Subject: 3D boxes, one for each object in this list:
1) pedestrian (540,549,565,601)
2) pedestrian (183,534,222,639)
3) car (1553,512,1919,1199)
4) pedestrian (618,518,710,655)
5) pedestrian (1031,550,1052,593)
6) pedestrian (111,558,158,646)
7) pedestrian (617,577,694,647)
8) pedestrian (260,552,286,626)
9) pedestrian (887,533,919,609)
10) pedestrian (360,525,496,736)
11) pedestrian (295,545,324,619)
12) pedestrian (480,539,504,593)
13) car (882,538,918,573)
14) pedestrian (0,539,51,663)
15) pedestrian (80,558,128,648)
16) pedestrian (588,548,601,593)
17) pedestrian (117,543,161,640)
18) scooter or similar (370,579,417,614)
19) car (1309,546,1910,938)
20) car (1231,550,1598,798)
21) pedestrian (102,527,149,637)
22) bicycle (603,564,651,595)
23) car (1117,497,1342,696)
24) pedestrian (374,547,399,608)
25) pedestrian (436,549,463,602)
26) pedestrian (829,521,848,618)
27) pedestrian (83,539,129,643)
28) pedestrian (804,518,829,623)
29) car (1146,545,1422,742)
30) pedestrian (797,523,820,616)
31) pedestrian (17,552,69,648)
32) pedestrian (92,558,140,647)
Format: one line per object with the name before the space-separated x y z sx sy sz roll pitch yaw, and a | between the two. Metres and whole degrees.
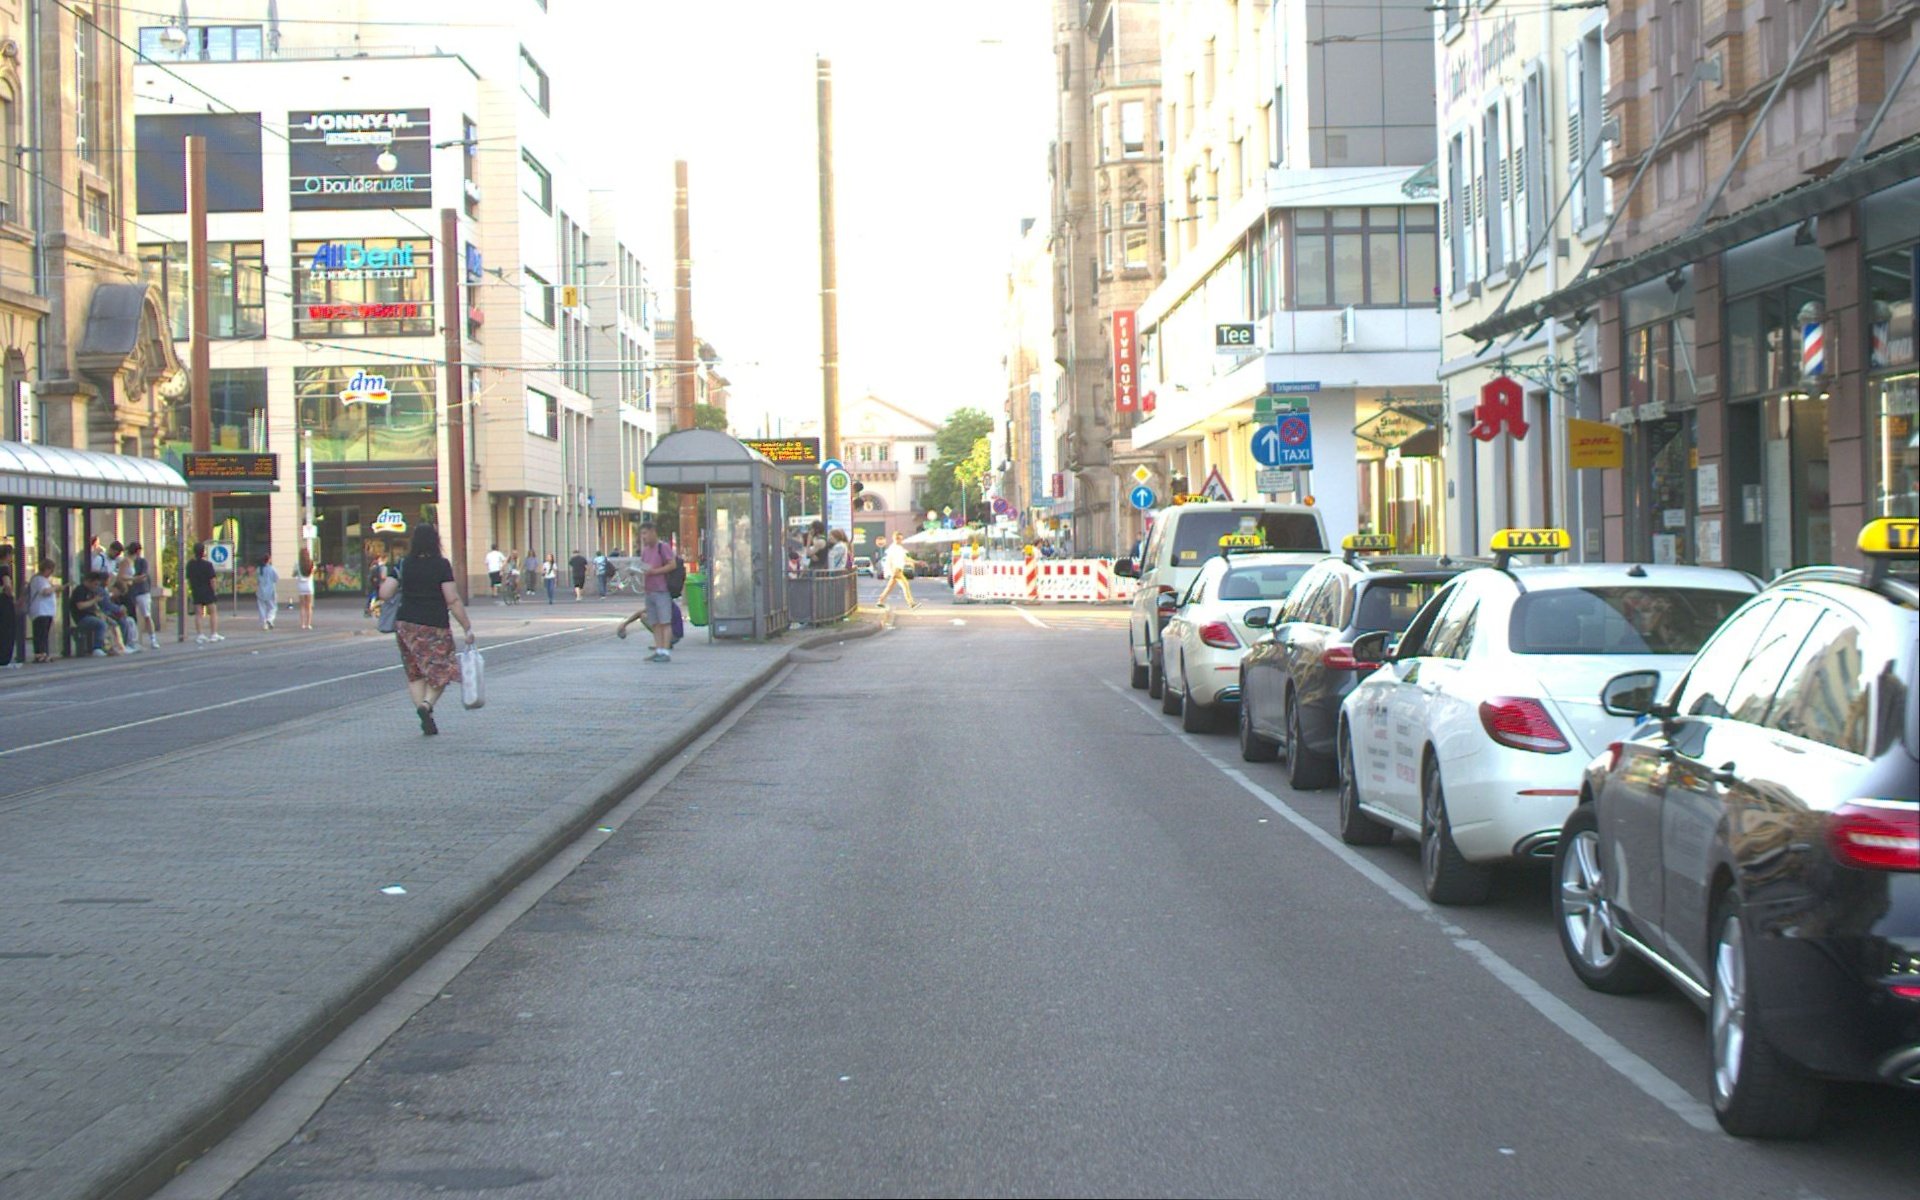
pedestrian | -13.156 -0.812 110.951 0.649 1.668 0.530 -1 1 8
pedestrian | -12.917 -0.232 58.620 0.559 1.770 0.469 -1 1 -5
car | 2.871 0.586 9.858 1.733 1.585 4.441 0 0 2
pedestrian | -3.566 -0.172 41.443 0.687 1.632 0.859 0 1 40
pedestrian | 3.023 -1.051 128.205 0.711 1.605 0.822 0 0 -3
pedestrian | -12.595 0.029 52.454 0.518 1.323 0.638 -1 0 3
pedestrian | -4.121 0.157 46.480 0.799 0.936 0.692 0 1 22
pedestrian | -14.145 -0.231 70.788 0.518 1.520 0.501 -1 1 -11
pedestrian | -1.351 -0.693 81.935 0.699 1.809 0.852 0 1 2
pedestrian | -3.864 0.211 25.041 0.846 1.496 0.901 -1 1 -1
pedestrian | -13.415 -0.369 70.883 0.525 1.520 0.503 -1 1 -14
pedestrian | -16.123 -1.173 118.432 0.573 1.848 0.816 0 0 11
car | -3.369 -2.469 191.836 1.993 1.897 4.000 0 0 -1
pedestrian | -12.610 0.014 46.092 0.518 1.645 0.637 -1 0 22
pedestrian | -12.648 0.041 50.815 0.518 1.323 0.638 -1 0 3
pedestrian | -12.351 -0.996 116.116 0.390 1.510 0.506 -1 0 -2
pedestrian | -13.257 -0.138 55.511 0.518 1.564 0.638 -1 0 3
scooter or similar | -15.303 -0.090 92.856 1.093 0.901 0.890 -1 1 1
car | 2.798 0.541 15.927 1.732 1.506 4.865 1 0 -1
car | 2.907 0.425 22.960 1.726 1.472 4.821 0 0 -1
pedestrian | -12.951 -0.283 53.321 0.674 1.685 0.638 -1 0 -15
bicycle | -12.018 -0.739 124.070 1.696 1.118 0.451 0 0 2
car | 2.751 -0.049 36.072 1.876 1.917 4.700 1 0 -1
pedestrian | -15.072 -0.597 90.333 0.569 1.587 0.448 -1 0 -3
pedestrian | -13.784 -0.669 92.860 0.639 1.415 0.418 -1 1 1
pedestrian | -2.264 -0.558 63.820 0.341 1.789 0.544 0 0 -3
pedestrian | -13.596 -0.150 54.743 0.518 1.640 0.638 -1 0 3
pedestrian | -2.428 -0.502 57.987 0.412 1.761 0.594 0 0 -3
car | 2.679 0.306 29.477 1.806 1.478 4.778 1 1 -1
pedestrian | -2.690 -0.539 60.997 0.385 1.636 0.549 0 0 -3
pedestrian | -12.856 -0.003 48.221 0.518 1.323 0.638 -1 0 3
pedestrian | -12.659 0.035 51.583 0.518 1.323 0.638 -1 0 3
